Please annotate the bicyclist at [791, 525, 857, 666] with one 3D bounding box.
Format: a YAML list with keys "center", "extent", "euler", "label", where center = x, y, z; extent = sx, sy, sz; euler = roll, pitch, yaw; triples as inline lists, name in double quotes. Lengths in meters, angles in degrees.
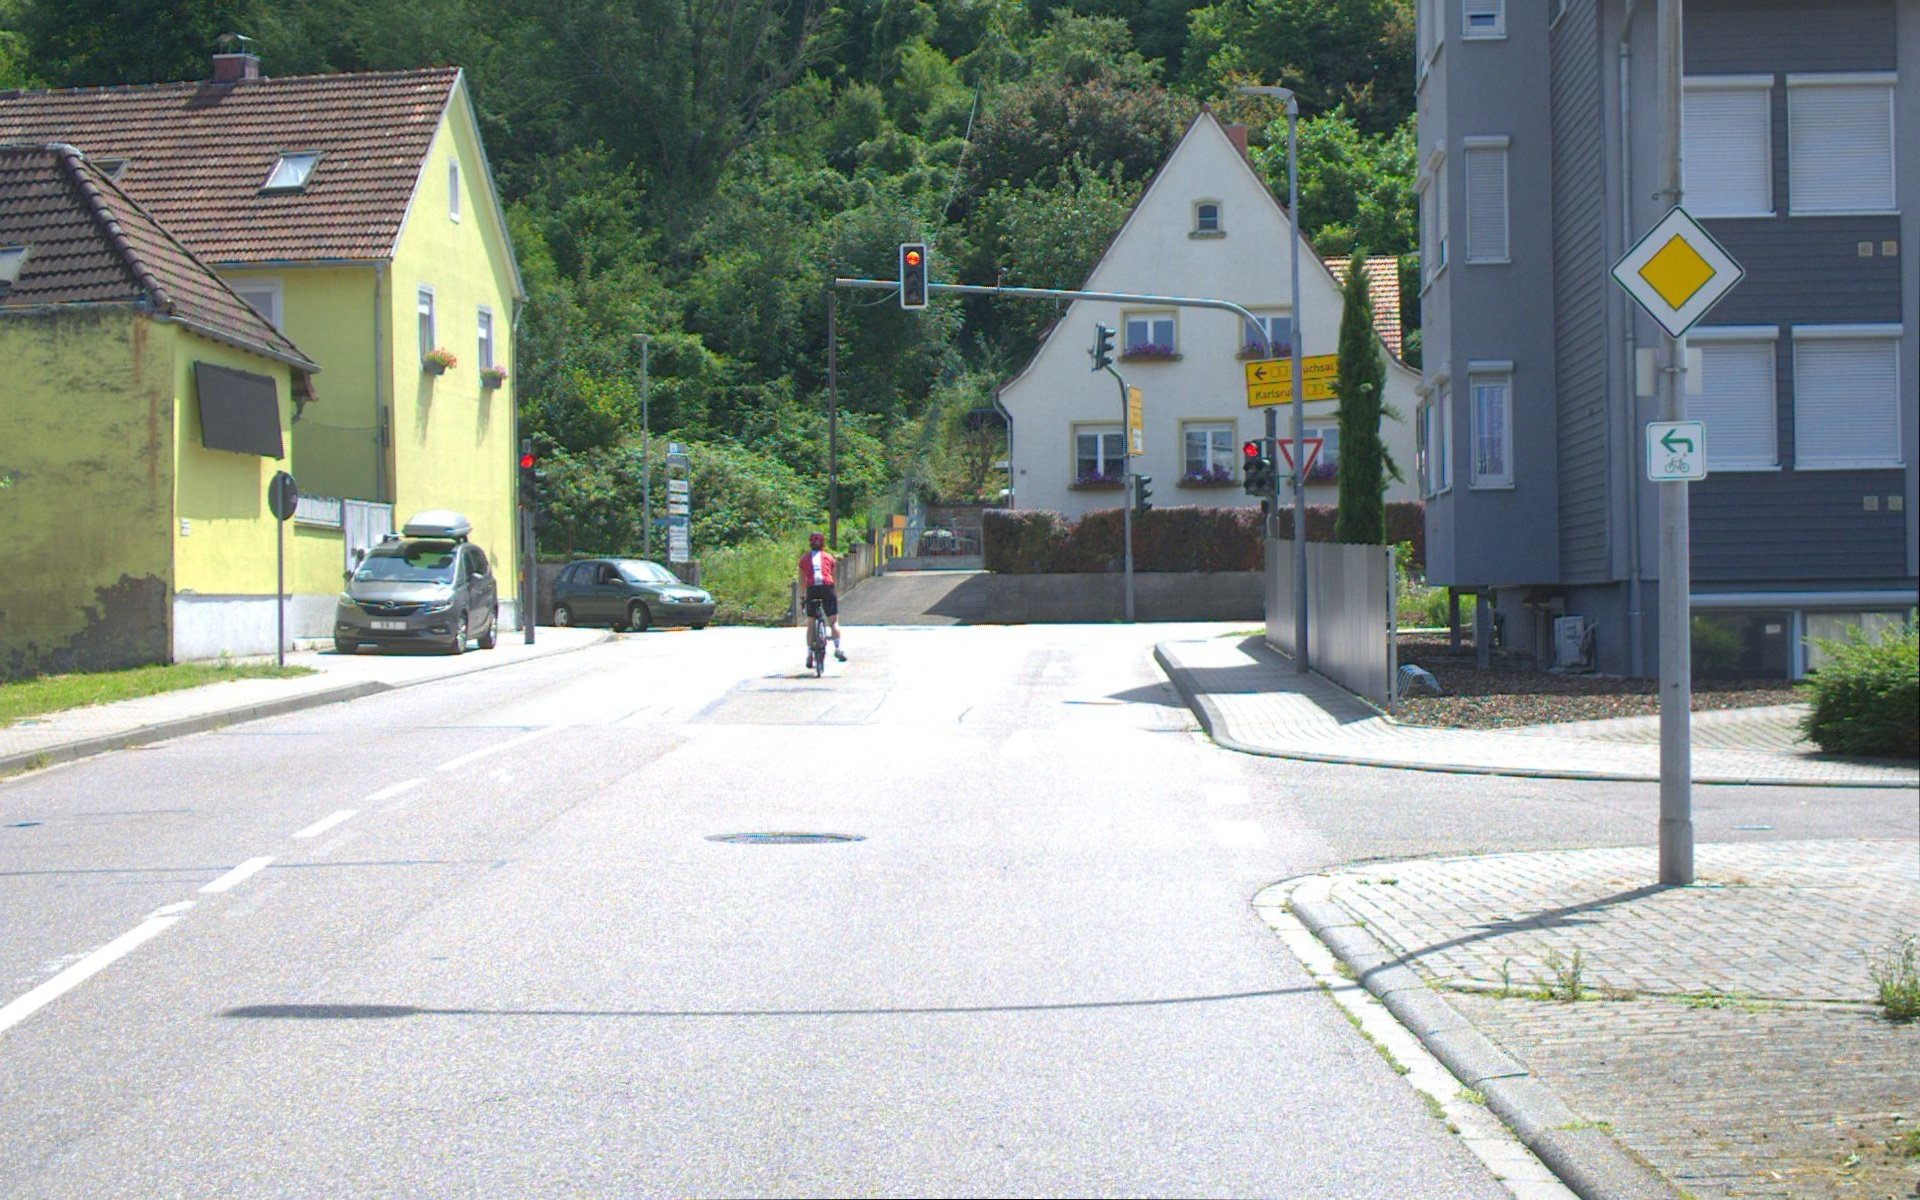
- center: [-1.614, -0.063, 40.890]
  extent: [0.760, 1.659, 0.869]
  euler: [0, 1, -2]
  label: "bicyclist"

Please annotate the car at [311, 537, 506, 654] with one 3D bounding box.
- center: [-8.101, -0.105, 50.895]
  extent: [1.993, 1.630, 4.630]
  euler: [1, 1, 2]
  label: "car"

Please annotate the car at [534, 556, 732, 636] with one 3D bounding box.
- center: [-6.364, -0.063, 66.658]
  extent: [1.781, 1.428, 3.870]
  euler: [-3, 1, -43]
  label: "car"

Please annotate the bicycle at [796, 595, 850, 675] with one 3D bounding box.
- center: [-1.626, 0.410, 40.953]
  extent: [0.630, 0.902, 1.657]
  euler: [0, 1, -2]
  label: "bicycle"
